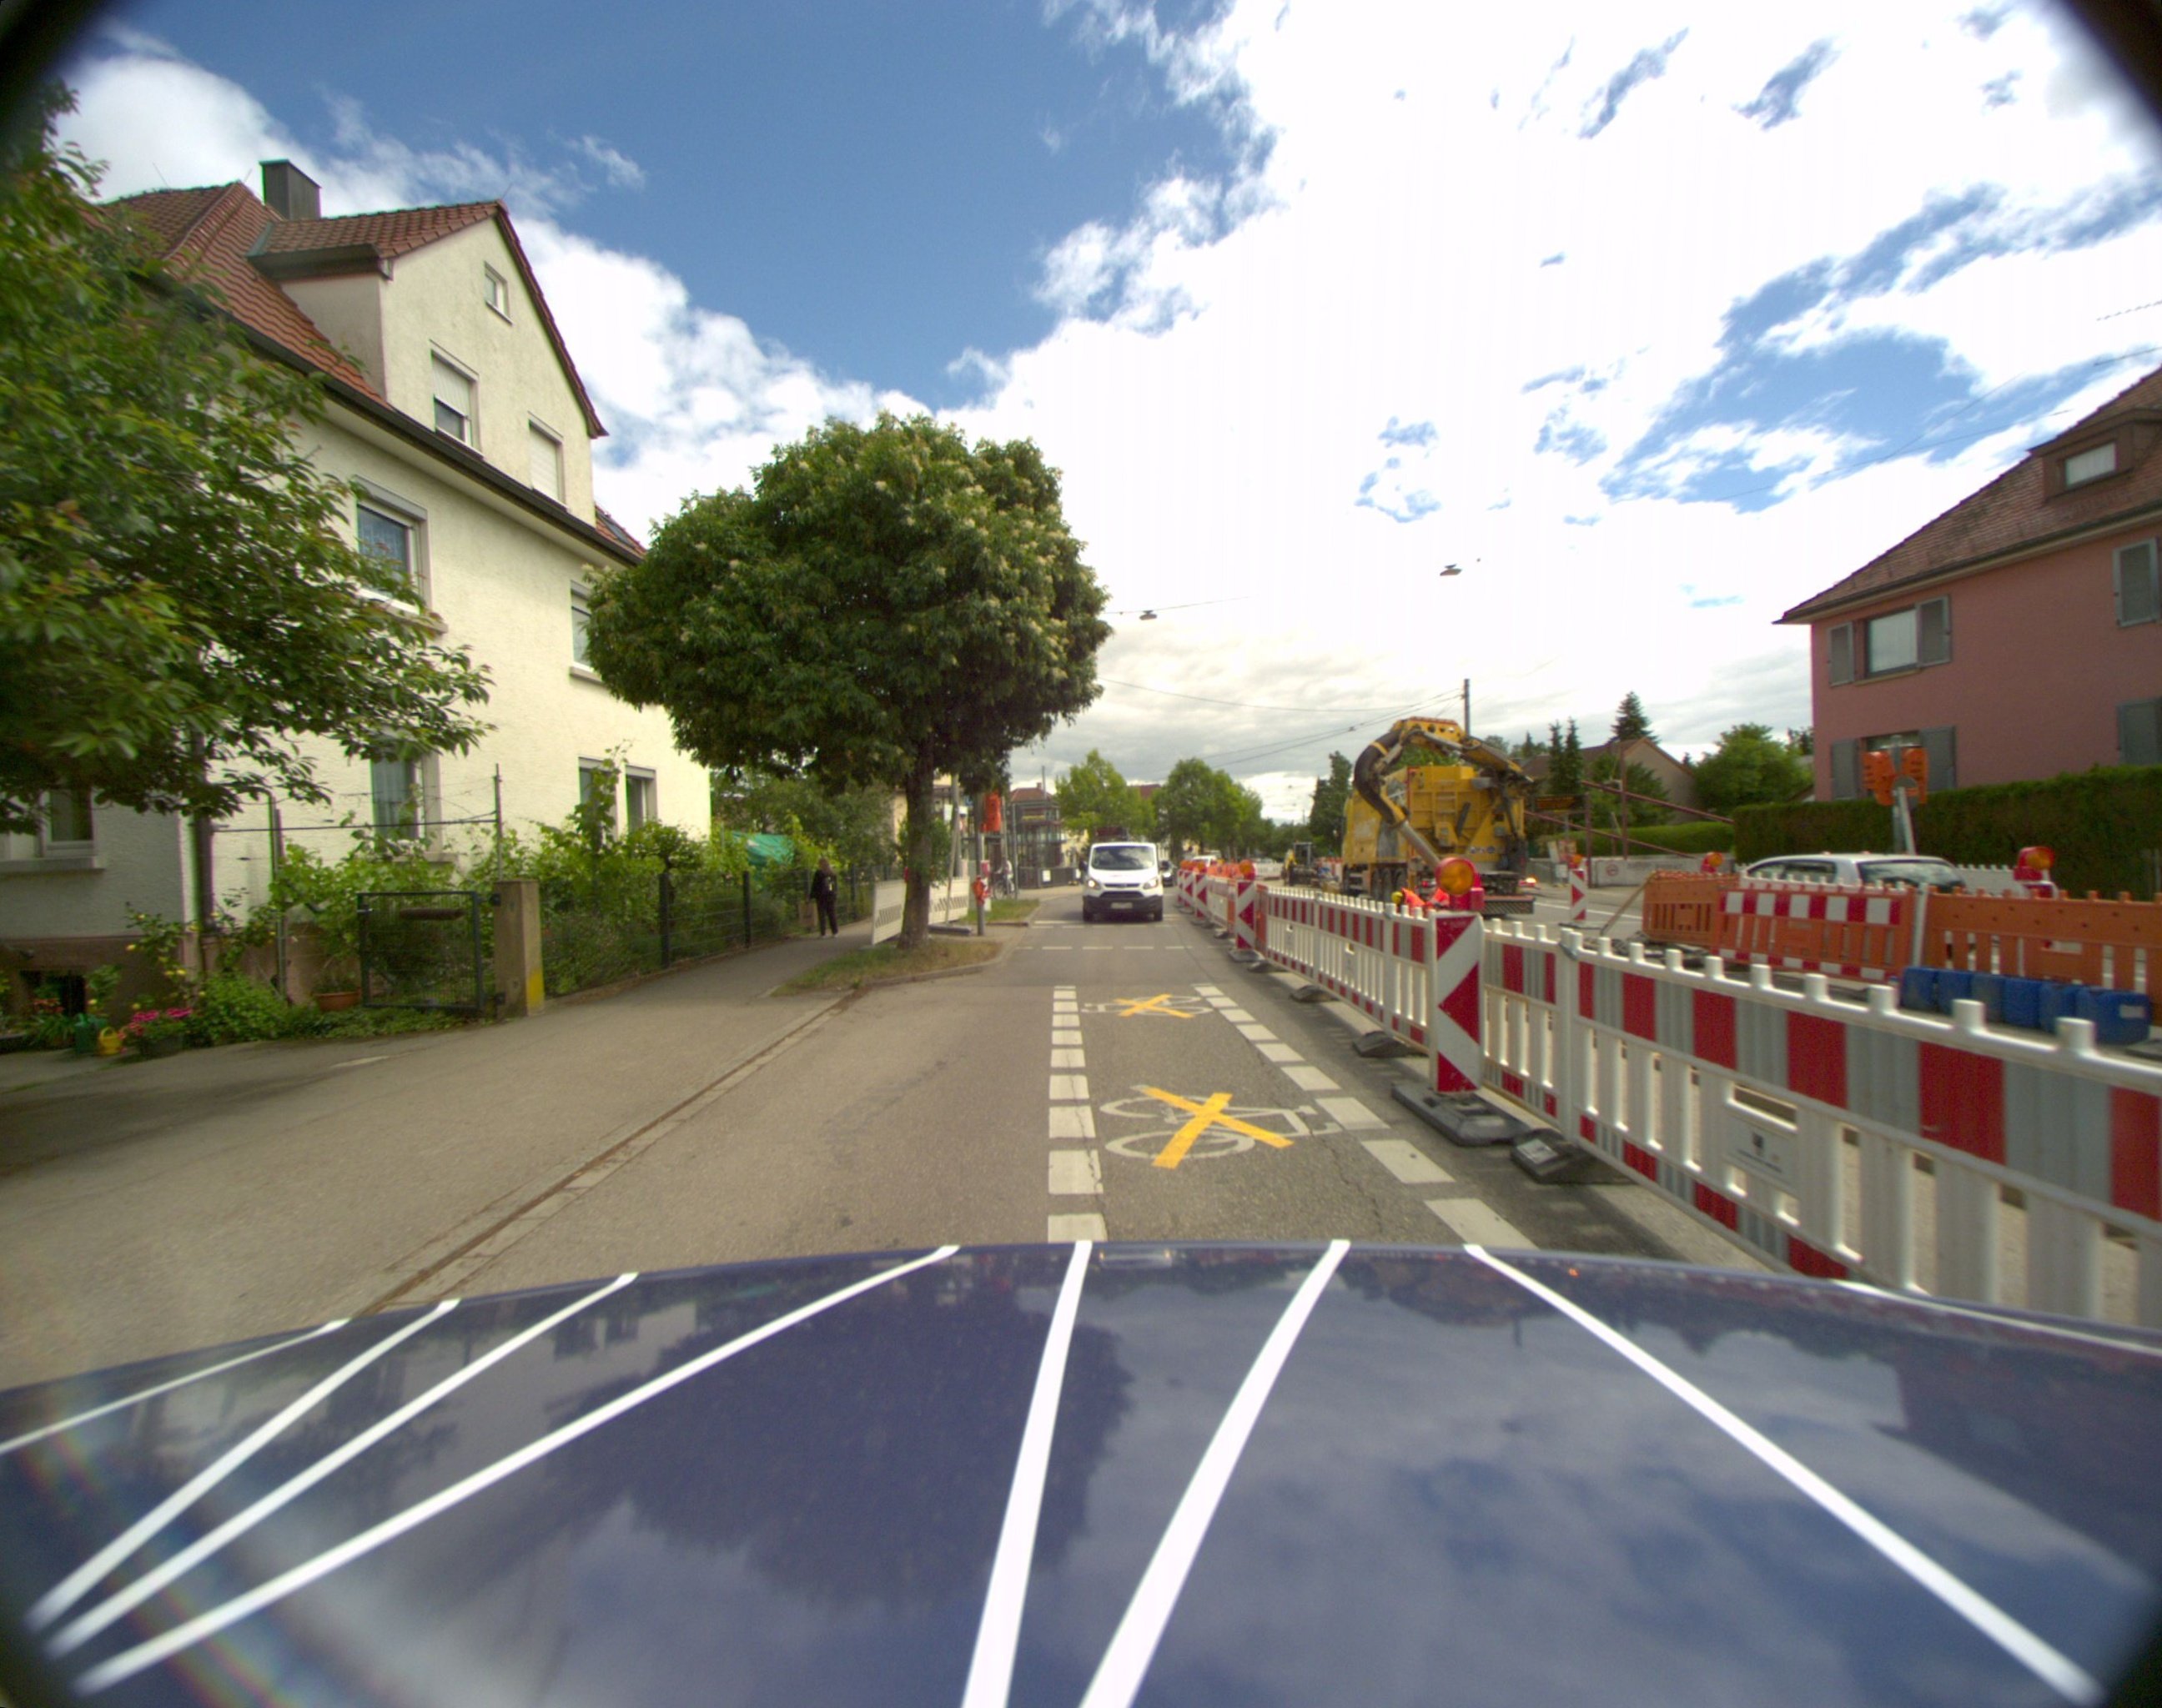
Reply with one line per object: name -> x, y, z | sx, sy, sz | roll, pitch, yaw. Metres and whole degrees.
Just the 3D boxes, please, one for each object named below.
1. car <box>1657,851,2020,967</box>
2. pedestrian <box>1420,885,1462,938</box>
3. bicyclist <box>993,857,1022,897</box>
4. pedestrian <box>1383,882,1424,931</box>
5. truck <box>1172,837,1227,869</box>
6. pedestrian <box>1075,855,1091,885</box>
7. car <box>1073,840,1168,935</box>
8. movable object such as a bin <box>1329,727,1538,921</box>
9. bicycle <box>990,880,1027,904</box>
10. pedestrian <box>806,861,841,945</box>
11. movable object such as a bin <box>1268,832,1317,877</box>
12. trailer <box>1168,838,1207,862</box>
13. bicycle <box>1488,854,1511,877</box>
car -> 11.522, 0.726, 12.041 | 1.858, 1.444, 4.001 | -3, 0, 3
pedestrian -> 7.242, 1.134, 15.282 | 0.641, 0.985, 0.795 | -1, 1, 33
bicyclist -> -2.662, 0.844, 27.771 | 0.657, 1.407, 1.180 | -2, 0, 14
pedestrian -> 6.936, 1.123, 16.352 | 0.791, 0.985, 0.813 | -1, 0, 23
truck -> 13.332, -0.056, 86.192 | 2.346, 3.178, 6.620 | -2, -3, -30
pedestrian -> 0.102, 0.864, 41.408 | 0.599, 1.573, 0.402 | -8, 1, 14
car -> 0.936, 0.732, 19.723 | 1.998, 2.002, 5.513 | -3, 0, 1
movable object such as a bin -> 9.497, -0.658, 22.164 | 2.595, 4.197, 11.128 | -1, 0, 9
bicycle -> -2.622, 1.379, 27.730 | 0.636, 0.749, 2.064 | -2, -1, 14
pedestrian -> -4.877, 0.911, 14.427 | 0.522, 1.531, 0.635 | -1, 1, -11
movable object such as a bin -> 13.313, -0.013, 47.549 | 1.995, 2.610, 6.533 | -1, 0, 23
trailer -> 11.073, -0.418, 78.817 | 2.595, 2.232, 5.682 | -4, -1, 22
bicycle -> 21.020, 0.558, 38.176 | 0.539, 1.076, 2.134 | -1, 0, 16
